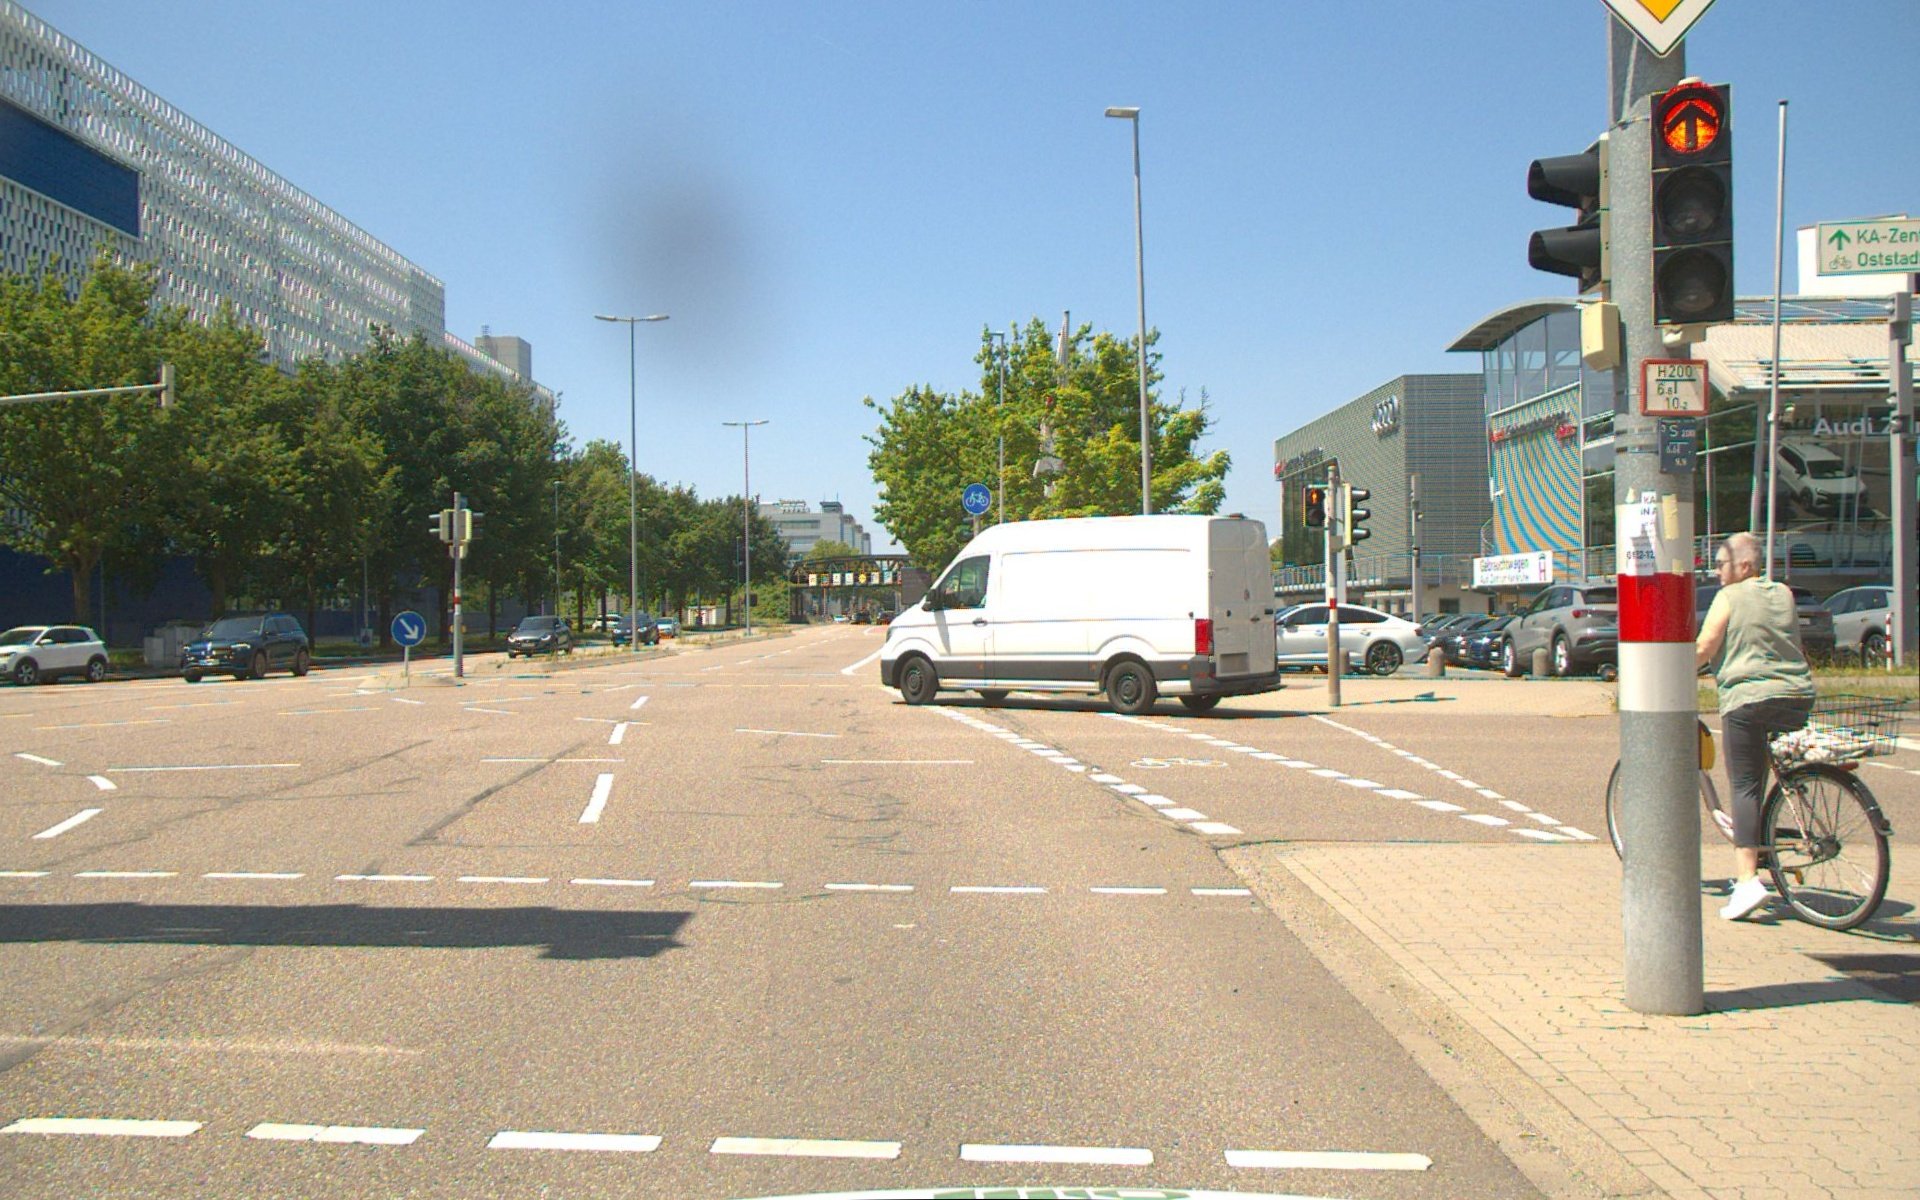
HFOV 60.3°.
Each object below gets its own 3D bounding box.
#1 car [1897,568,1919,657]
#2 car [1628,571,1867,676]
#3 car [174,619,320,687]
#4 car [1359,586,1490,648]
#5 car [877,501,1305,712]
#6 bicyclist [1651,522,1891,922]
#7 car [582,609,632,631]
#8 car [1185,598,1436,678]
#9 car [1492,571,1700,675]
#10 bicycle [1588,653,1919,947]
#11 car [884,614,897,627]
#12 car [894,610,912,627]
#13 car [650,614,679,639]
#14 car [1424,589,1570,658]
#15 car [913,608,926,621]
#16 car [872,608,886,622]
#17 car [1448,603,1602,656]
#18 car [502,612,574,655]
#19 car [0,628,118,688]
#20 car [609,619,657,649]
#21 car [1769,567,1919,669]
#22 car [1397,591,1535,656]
[{"bbox_3d":[18.842,0.225,29.310,1.847,1.668,4.524,-1,0,-1],"label":"car"},{"bbox_3d":[13.683,0.368,29.079,1.953,1.668,4.557,-1,0,-1],"label":"car"},{"bbox_3d":[-18.269,1.313,42.616,1.837,1.626,4.495,-1,-1,-1],"label":"car"},{"bbox_3d":[15.971,0.581,56.999,3.905,2.049,2.000,-1,0,0],"label":"car"},{"bbox_3d":[1.684,0.104,22.756,5.688,2.578,2.093,-1,-1,38],"label":"car"},{"bbox_3d":[3.776,0.541,7.753,0.719,1.779,0.753,0,0,-5],"label":"bicyclist"},{"bbox_3d":[-31.740,1.814,148.717,3.930,1.842,2.001,1,0,7],"label":"car"},{"bbox_3d":[6.976,0.738,33.311,4.643,1.482,2.000,-1,0,1],"label":"car"},{"bbox_3d":[11.076,0.362,29.156,1.953,1.668,4.267,-1,0,-1],"label":"car"},{"bbox_3d":[3.794,0.863,7.867,0.771,1.147,1.919,0,0,-4],"label":"bicycle"},{"bbox_3d":[-9.893,2.923,236.247,1.736,1.758,3.999,-1,-1,-1],"label":"car"},{"bbox_3d":[-3.623,1.170,105.374,1.114,1.060,2.308,-1,0,-1],"label":"car"},{"bbox_3d":[-20.708,1.836,116.048,1.617,1.682,4.159,-1,0,-5],"label":"car"},{"bbox_3d":[16.776,0.718,51.806,3.905,2.049,2.000,-1,0,0],"label":"car"},{"bbox_3d":[-5.396,1.926,221.781,1.736,1.758,3.999,-1,-1,-1],"label":"car"},{"bbox_3d":[-10.770,2.026,220.120,1.736,1.758,3.999,-1,-1,-1],"label":"car"},{"bbox_3d":[16.861,0.869,49.465,4.008,1.486,1.719,-1,0,0],"label":"car"},{"bbox_3d":[-15.454,1.217,60.736,1.697,1.452,3.705,-3,-1,-1],"label":"car"},{"bbox_3d":[-24.783,1.538,44.419,1.587,1.483,4.074,-1,-1,13],"label":"car"},{"bbox_3d":[-16.086,1.656,81.459,1.650,1.436,3.664,-1,-1,-1],"label":"car"},{"bbox_3d":[16.476,0.255,29.402,1.953,1.668,4.440,-1,0,-1],"label":"car"},{"bbox_3d":[16.666,0.761,54.620,3.905,2.049,2.000,-1,0,0],"label":"car"}]
